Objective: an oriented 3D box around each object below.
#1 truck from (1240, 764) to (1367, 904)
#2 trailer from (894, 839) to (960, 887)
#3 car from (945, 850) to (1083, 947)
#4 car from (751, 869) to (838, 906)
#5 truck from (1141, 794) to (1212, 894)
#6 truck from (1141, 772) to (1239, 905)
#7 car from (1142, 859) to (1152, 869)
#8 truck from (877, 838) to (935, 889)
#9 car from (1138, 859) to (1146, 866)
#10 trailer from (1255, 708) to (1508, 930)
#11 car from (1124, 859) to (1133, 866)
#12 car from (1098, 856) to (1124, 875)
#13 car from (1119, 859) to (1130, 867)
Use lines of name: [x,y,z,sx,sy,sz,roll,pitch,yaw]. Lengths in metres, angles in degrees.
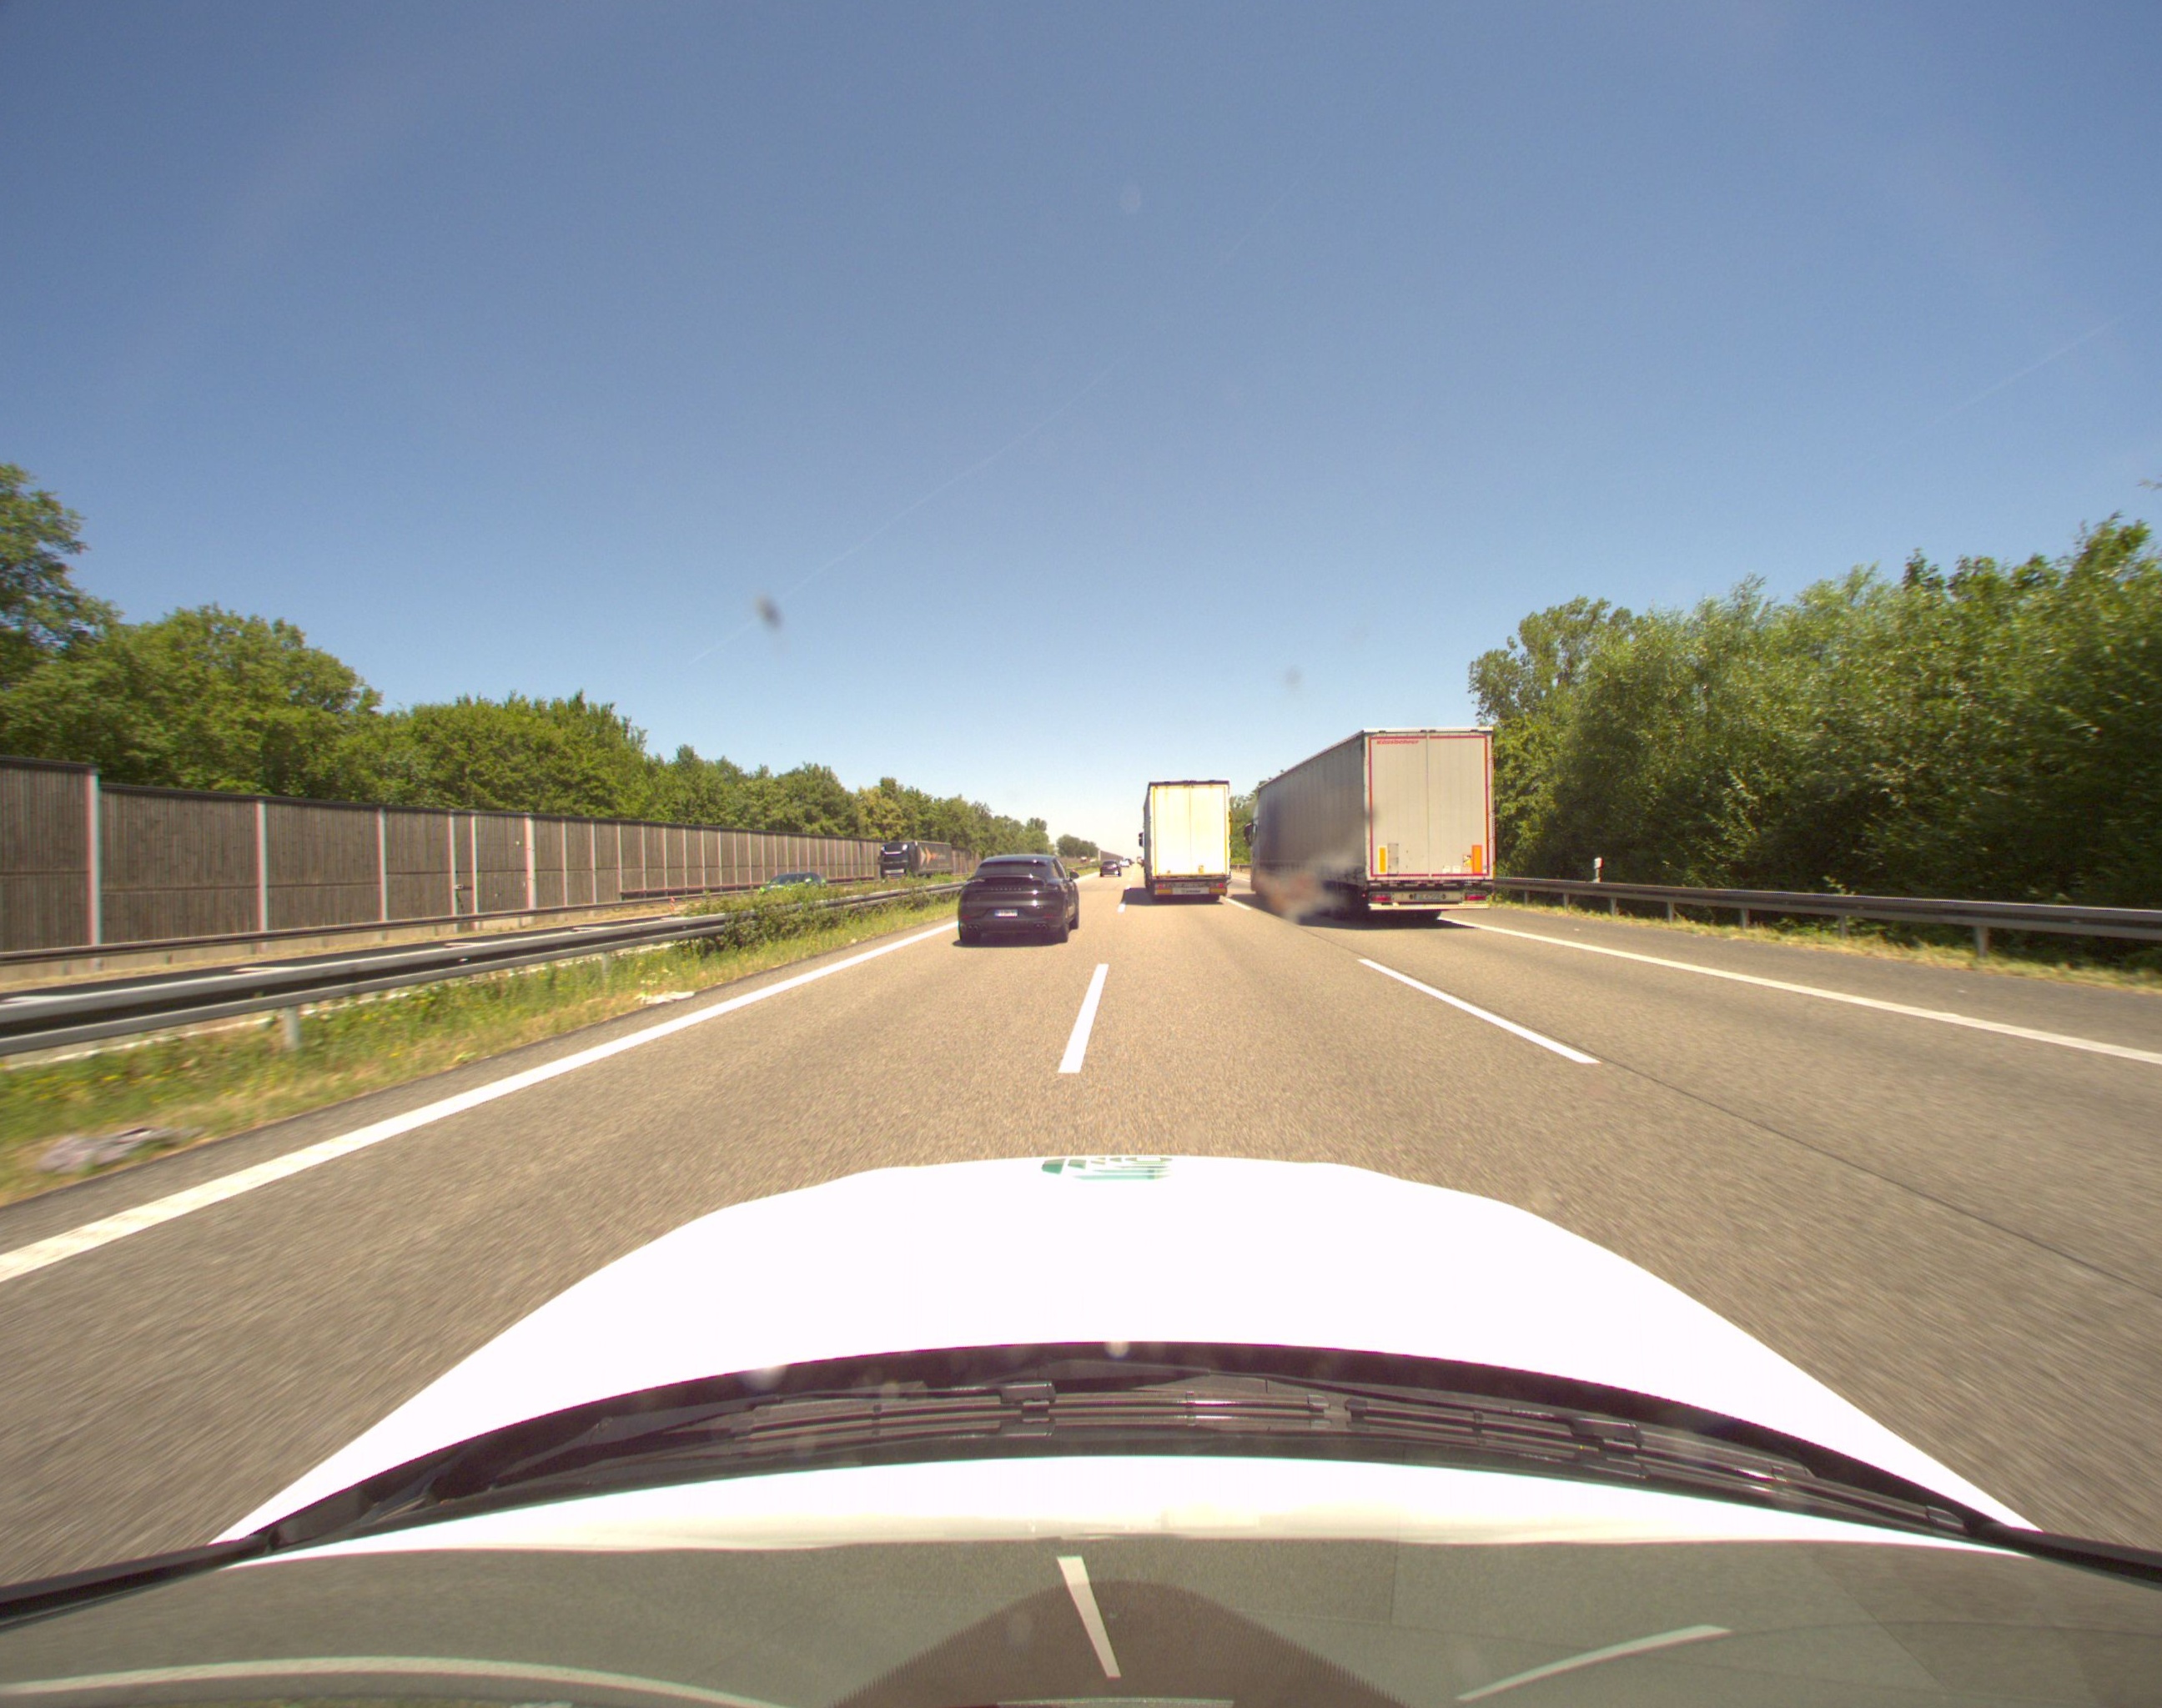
truck: [7.671,-0.592,29.240,2.680,4.215,7.845,-3,-1,3]
trailer: [-14.539,0.837,78.179,2.716,4.085,13.902,-3,-1,3]
car: [-1.154,0.779,16.960,2.035,1.625,5.777,-2,0,3]
car: [-12.935,1.454,37.134,1.951,1.433,4.884,-3,-1,3]
truck: [4.286,-0.391,38.096,2.716,4.086,7.283,-3,-1,3]
truck: [3.938,-0.433,32.452,2.695,4.085,13.485,-3,-1,3]
car: [11.935,1.806,147.495,1.847,1.617,4.005,-3,0,4]
truck: [-14.993,0.809,70.547,2.716,4.086,7.845,-3,-1,3]
car: [15.262,2.000,203.107,1.848,1.617,4.002,-4,-1,2]
trailer: [7.251,-0.636,22.480,2.692,4.216,13.223,-3,-1,3]
car: [11.009,2.007,190.071,1.848,1.617,4.001,-4,-1,2]
car: [2.766,1.011,73.644,1.934,1.506,5.829,-3,0,5]
car: [8.166,1.679,151.298,1.846,1.486,4.005,-4,-1,5]
